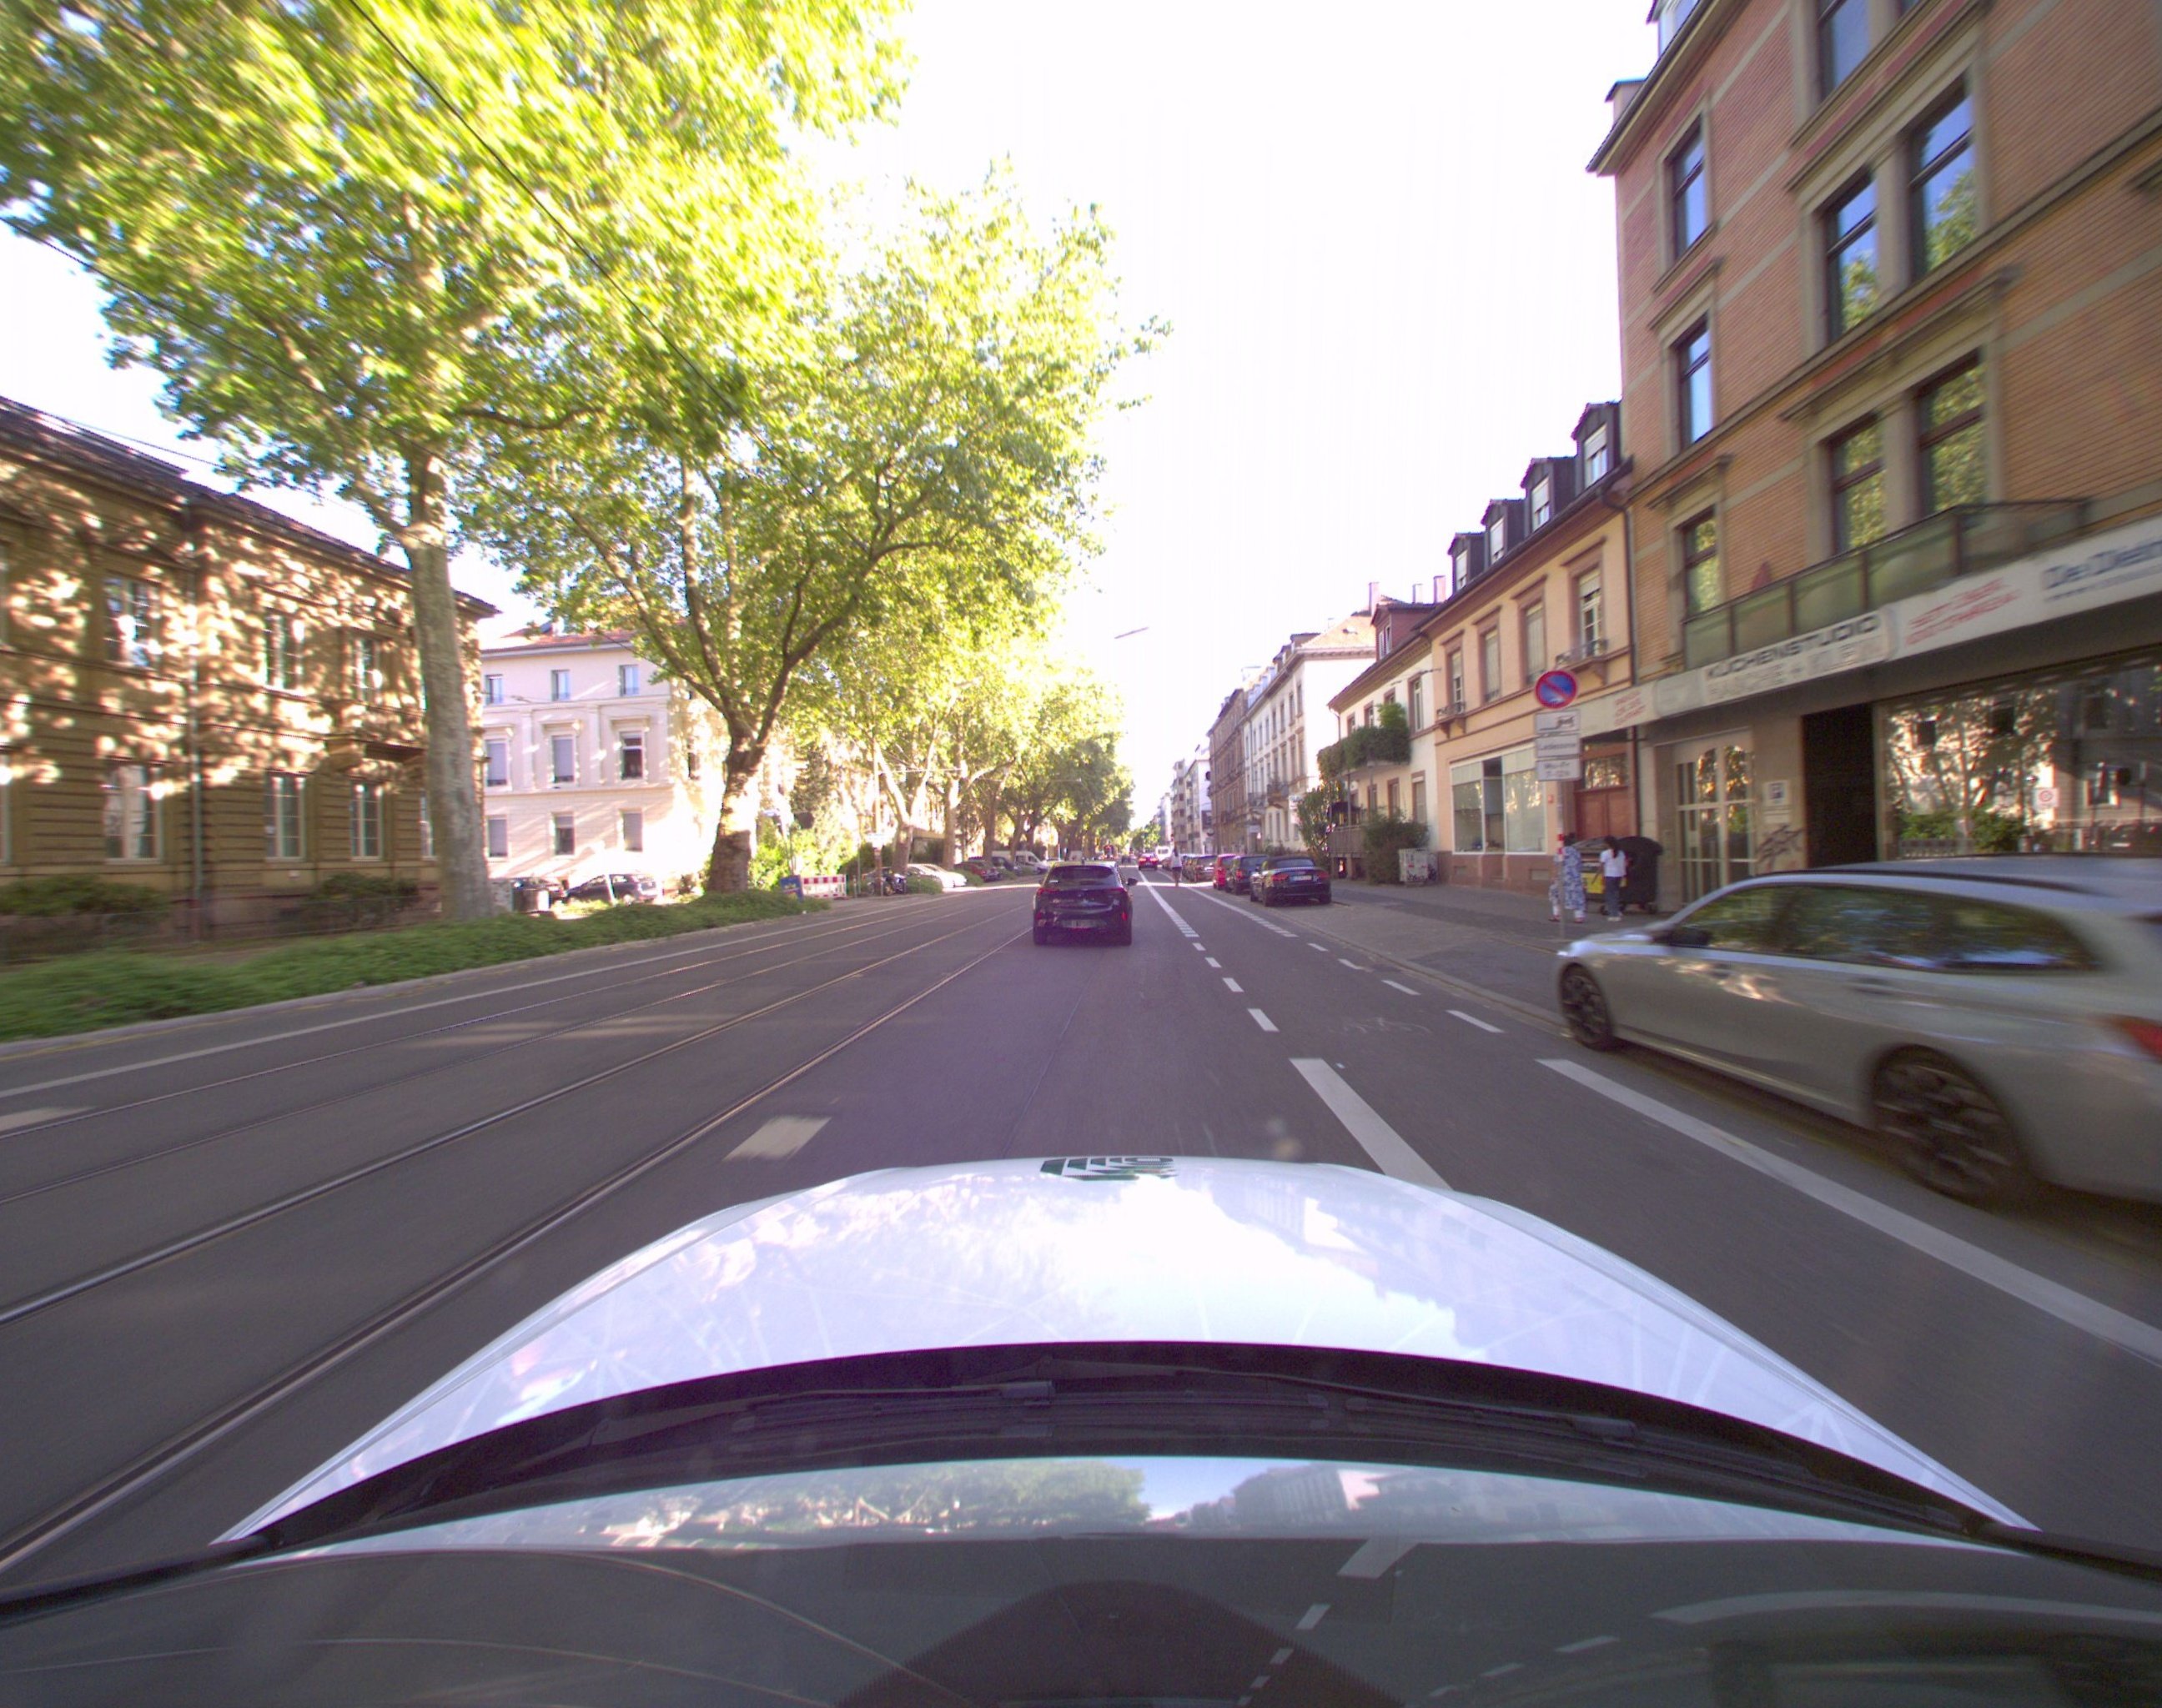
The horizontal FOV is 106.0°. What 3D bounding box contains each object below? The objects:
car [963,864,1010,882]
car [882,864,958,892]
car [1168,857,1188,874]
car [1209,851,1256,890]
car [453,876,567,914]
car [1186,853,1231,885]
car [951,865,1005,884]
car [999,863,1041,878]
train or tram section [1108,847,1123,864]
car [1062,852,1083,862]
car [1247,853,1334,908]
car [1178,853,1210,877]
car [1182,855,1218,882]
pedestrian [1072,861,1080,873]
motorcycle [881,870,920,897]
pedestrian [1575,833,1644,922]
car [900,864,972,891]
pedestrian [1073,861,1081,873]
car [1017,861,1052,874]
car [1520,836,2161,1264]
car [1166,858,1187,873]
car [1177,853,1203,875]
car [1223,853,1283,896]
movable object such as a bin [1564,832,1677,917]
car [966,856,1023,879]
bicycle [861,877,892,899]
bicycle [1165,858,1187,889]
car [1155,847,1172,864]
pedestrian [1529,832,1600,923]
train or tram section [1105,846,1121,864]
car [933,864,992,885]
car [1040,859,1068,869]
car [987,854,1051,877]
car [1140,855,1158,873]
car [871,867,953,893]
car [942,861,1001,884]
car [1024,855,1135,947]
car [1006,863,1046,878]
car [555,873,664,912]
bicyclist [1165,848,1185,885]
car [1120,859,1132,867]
[{"bbox_3d":[-7.976,1.579,68.936,3.718,1.498,1.748,0,-1,3],"label":"car"},{"bbox_3d":[-9.135,1.346,46.446,3.905,1.453,1.801,-2,-1,3],"label":"car"},{"bbox_3d":[9.085,1.061,76.327,1.696,1.456,3.704,-5,-1,7],"label":"car"},{"bbox_3d":[6.631,0.715,35.973,1.627,1.546,3.580,-3,-1,5],"label":"car"},{"bbox_3d":[-25.560,1.812,36.523,3.902,1.418,1.696,-3,1,4],"label":"car"},{"bbox_3d":[7.347,0.863,47.241,1.874,1.586,3.932,-5,-1,0],"label":"car"},{"bbox_3d":[-7.870,1.570,62.417,3.905,1.422,1.819,0,-1,1],"label":"car"},{"bbox_3d":[-6.094,1.608,81.283,3.902,1.498,1.679,0,-1,4],"label":"car"},{"bbox_3d":[8.099,0.281,189.373,2.722,3.682,12.732,-3,-1,5],"label":"train or tram section"},{"bbox_3d":[-1.527,0.494,148.224,3.906,1.790,1.677,0,-1,0],"label":"car"},{"bbox_3d":[6.085,0.730,24.137,1.686,1.392,4.500,-3,-1,5],"label":"car"},{"bbox_3d":[7.807,0.727,56.639,1.871,1.456,4.031,-5,-1,5],"label":"car"},{"bbox_3d":[7.514,0.905,51.785,1.791,1.456,3.770,-5,-1,3],"label":"car"},{"bbox_3d":[-0.628,1.644,104.699,0.771,1.567,0.675,-1,-1,-28],"label":"pedestrian"},{"bbox_3d":[-8.415,1.378,38.106,0.878,1.147,2.398,-1,0,11],"label":"motorcycle"},{"bbox_3d":[9.120,0.393,14.088,0.655,1.483,0.786,-1,-1,2],"label":"pedestrian"},{"bbox_3d":[-8.735,1.392,49.230,3.903,1.462,1.807,-2,-1,3],"label":"car"},{"bbox_3d":[-0.471,1.647,105.502,0.771,1.567,0.675,-1,-1,-28],"label":"pedestrian"},{"bbox_3d":[-5.337,1.553,93.513,3.906,1.498,1.677,0,-1,0],"label":"car"},{"bbox_3d":[4.734,0.679,4.918,1.802,1.435,4.668,-3,-1,3],"label":"car"},{"bbox_3d":[9.415,1.110,80.622,1.801,1.338,3.938,-5,-1,5],"label":"car"},{"bbox_3d":[8.391,0.754,62.746,1.703,1.483,3.768,-5,-1,5],"label":"car"},{"bbox_3d":[6.490,0.754,31.095,1.644,1.456,3.872,-3,-1,4],"label":"car"},{"bbox_3d":[10.192,0.379,15.448,1.288,1.520,1.287,-1,-1,3],"label":"movable object such as a bin"},{"bbox_3d":[-7.569,1.192,71.764,4.653,1.924,1.982,0,-1,4],"label":"car"},{"bbox_3d":[-9.531,1.584,38.028,0.537,0.940,2.040,-1,0,11],"label":"bicycle"},{"bbox_3d":[4.626,0.934,39.871,0.857,1.407,2.525,-1,-1,2],"label":"bicycle"},{"bbox_3d":[11.484,0.217,113.893,2.066,2.219,4.939,-5,-1,5],"label":"car"},{"bbox_3d":[8.429,0.403,14.231,0.657,1.505,0.867,-3,-1,2],"label":"pedestrian"},{"bbox_3d":[7.018,0.286,176.723,2.722,3.682,12.732,-3,-1,5],"label":"train or tram section"},{"bbox_3d":[-8.382,1.432,57.811,3.903,1.442,1.750,0,-1,3],"label":"car"},{"bbox_3d":[-3.862,1.470,117.914,3.906,1.498,1.677,0,-1,0],"label":"car"},{"bbox_3d":[-6.578,1.201,86.934,6.599,2.409,2.460,0,-1,3],"label":"car"},{"bbox_3d":[7.135,1.037,85.049,1.801,1.742,3.938,-2,-1,5],"label":"car"},{"bbox_3d":[-9.064,1.394,43.856,3.902,1.332,1.849,0,-1,4],"label":"car"},{"bbox_3d":[-8.017,1.334,60.018,3.978,1.627,1.881,0,-1,3],"label":"car"},{"bbox_3d":[0.078,0.765,15.070,1.786,1.441,3.534,-1,0,3],"label":"car"},{"bbox_3d":[-5.692,1.671,84.493,3.903,1.498,1.679,0,-1,3],"label":"car"},{"bbox_3d":[-20.867,1.712,36.127,3.760,1.418,1.696,-3,2,4],"label":"car"},{"bbox_3d":[4.604,0.608,39.889,0.844,1.740,1.162,-1,-1,2],"label":"bicyclist"},{"bbox_3d":[7.753,1.500,139.595,1.801,1.338,3.938,-2,-1,5],"label":"car"}]
